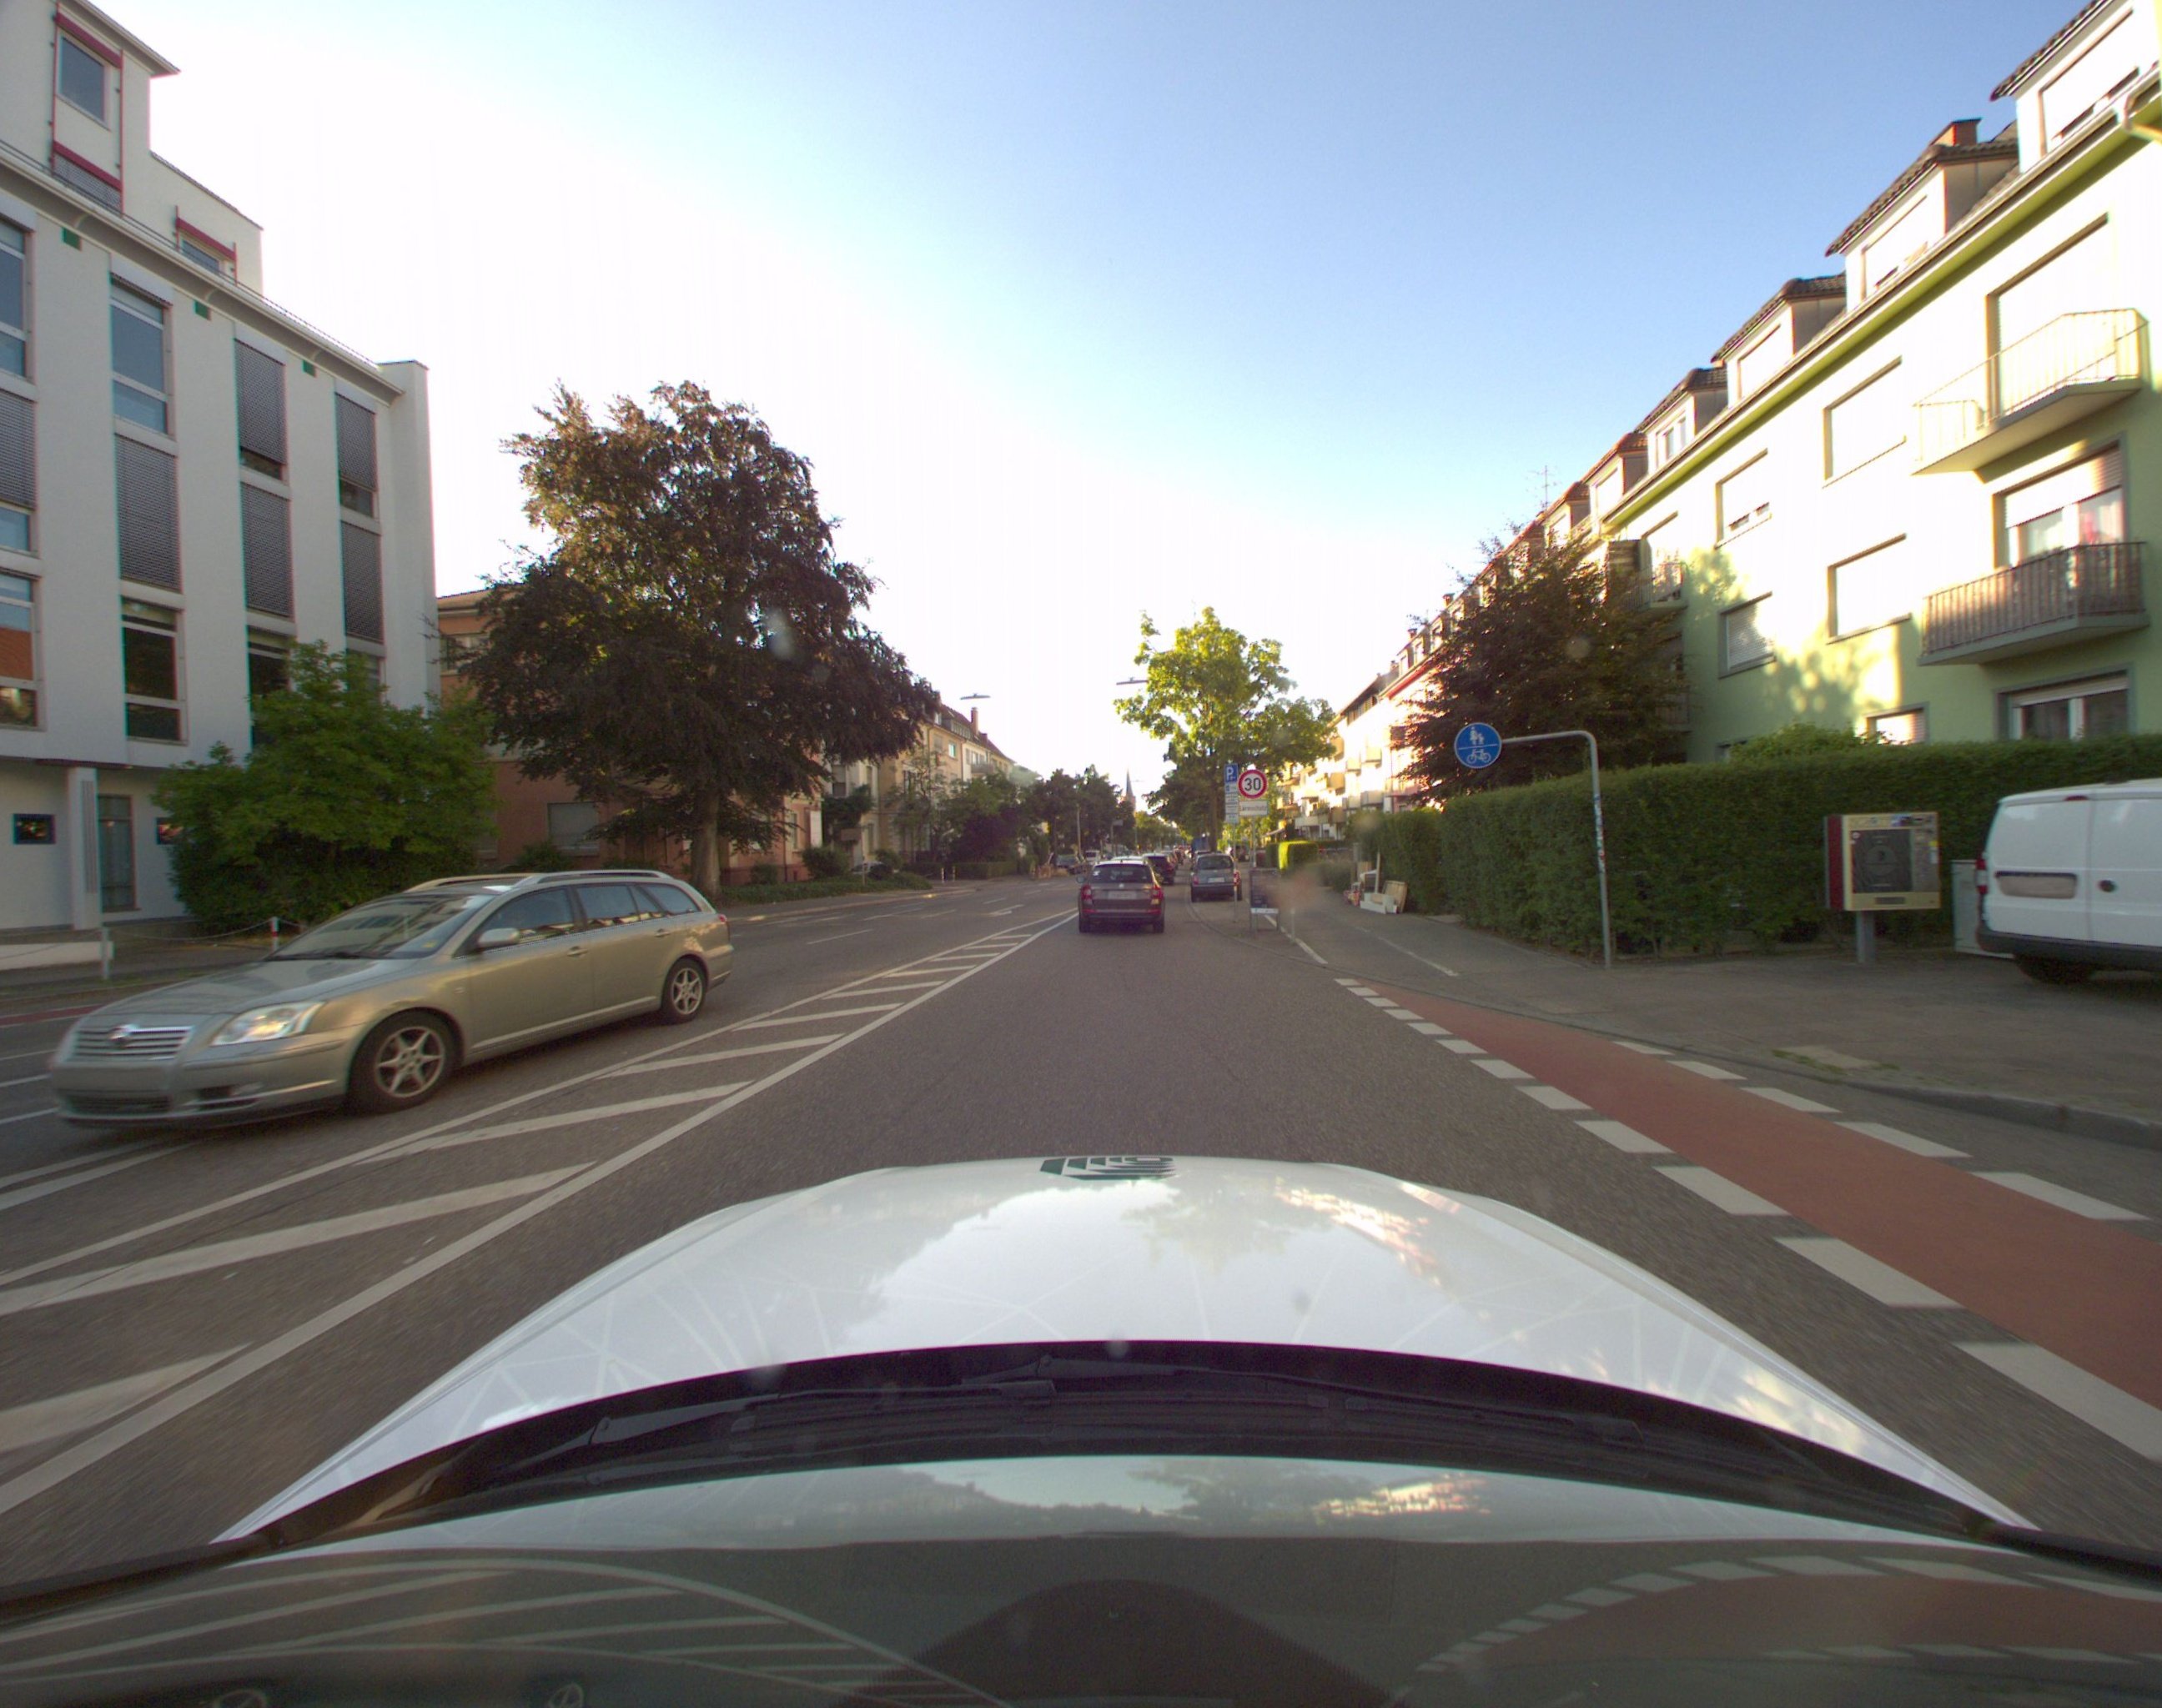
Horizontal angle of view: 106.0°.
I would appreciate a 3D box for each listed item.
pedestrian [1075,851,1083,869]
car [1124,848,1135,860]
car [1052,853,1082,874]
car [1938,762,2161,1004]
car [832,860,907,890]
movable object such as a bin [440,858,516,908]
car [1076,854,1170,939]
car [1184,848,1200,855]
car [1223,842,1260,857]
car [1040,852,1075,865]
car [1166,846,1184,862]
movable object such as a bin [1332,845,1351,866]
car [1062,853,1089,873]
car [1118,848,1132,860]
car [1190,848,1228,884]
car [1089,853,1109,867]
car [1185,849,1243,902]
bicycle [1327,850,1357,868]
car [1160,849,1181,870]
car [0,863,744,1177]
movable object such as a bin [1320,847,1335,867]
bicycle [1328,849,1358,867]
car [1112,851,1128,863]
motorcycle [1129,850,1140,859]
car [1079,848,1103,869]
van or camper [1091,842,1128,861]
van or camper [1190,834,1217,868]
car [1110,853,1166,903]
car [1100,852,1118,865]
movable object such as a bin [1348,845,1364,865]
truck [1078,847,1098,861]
[{"bbox_3d":[-0.229,0.681,93.172,0.763,2.013,0.978,-2,0,7],"label":"pedestrian"},{"bbox_3d":[7.657,0.032,128.889,1.499,1.757,3.701,-2,1,7],"label":"car"},{"bbox_3d":[-1.049,0.766,65.294,1.740,1.502,4.206,-2,1,8],"label":"car"},{"bbox_3d":[10.189,0.144,6.734,4.068,1.814,1.864,-2,1,4],"label":"car"},{"bbox_3d":[-11.548,1.143,44.574,3.482,1.486,1.817,-2,1,3],"label":"car"},{"bbox_3d":[-21.019,0.991,28.428,1.493,1.651,1.461,-2,1,11],"label":"movable object such as a bin"},{"bbox_3d":[0.782,0.801,17.404,1.724,1.493,3.949,-2,1,-1],"label":"car"},{"bbox_3d":[29.083,-0.593,213.004,4.202,1.757,1.860,-3,1,-42],"label":"car"},{"bbox_3d":[22.123,-0.597,112.306,4.549,1.892,1.902,-2,0,-20],"label":"car"},{"bbox_3d":[-2.846,0.555,97.574,3.969,1.479,2.002,-1,1,3],"label":"car"},{"bbox_3d":[10.109,0.003,87.319,1.723,1.651,3.549,-2,1,8],"label":"car"},{"bbox_3d":[13.367,0.069,41.808,0.772,1.002,0.798,-2,1,7],"label":"movable object such as a bin"},{"bbox_3d":[-0.459,0.748,70.282,1.740,1.502,3.987,-2,1,8],"label":"car"},{"bbox_3d":[6.760,-0.076,124.287,1.740,1.740,3.599,-2,1,8],"label":"car"},{"bbox_3d":[6.385,0.559,40.927,1.723,1.651,4.301,-2,1,8],"label":"car"},{"bbox_3d":[2.012,0.657,88.067,1.707,1.421,3.795,-2,1,8],"label":"car"},{"bbox_3d":[4.376,0.660,27.107,1.723,1.551,3.654,-2,1,8],"label":"car"},{"bbox_3d":[13.156,0.238,41.068,1.352,0.854,0.366,-2,0,7],"label":"bicycle"},{"bbox_3d":[7.733,0.440,70.235,1.723,1.651,3.549,-2,1,8],"label":"car"},{"bbox_3d":[-4.878,0.926,6.654,1.818,1.514,4.614,-2,1,7],"label":"car"},{"bbox_3d":[12.663,0.142,41.908,0.579,1.002,0.798,-2,1,7],"label":"movable object such as a bin"},{"bbox_3d":[13.084,0.206,40.616,1.362,0.854,0.369,-2,0,8],"label":"bicycle"},{"bbox_3d":[5.308,0.381,111.156,1.744,1.420,4.436,-2,1,8],"label":"car"},{"bbox_3d":[9.149,0.076,139.097,0.770,1.511,2.008,-2,1,-35],"label":"motorcycle"},{"bbox_3d":[1.029,0.443,80.527,1.760,1.919,4.470,-2,1,8],"label":"car"},{"bbox_3d":[6.214,-0.540,176.051,7.602,3.874,2.003,-2,0,5],"label":"van or camper"},{"bbox_3d":[10.136,-0.252,67.743,2.056,2.675,6.003,-2,0,8],"label":"van or camper"},{"bbox_3d":[1.948,0.765,27.792,1.722,1.493,3.955,-2,1,4],"label":"car"},{"bbox_3d":[3.472,0.523,99.832,1.707,1.497,4.257,-2,1,8],"label":"car"},{"bbox_3d":[14.086,0.045,41.730,0.608,1.002,0.798,-2,1,7],"label":"movable object such as a bin"},{"bbox_3d":[1.052,-0.053,126.457,2.898,2.093,1.549,-2,1,7],"label":"truck"}]
